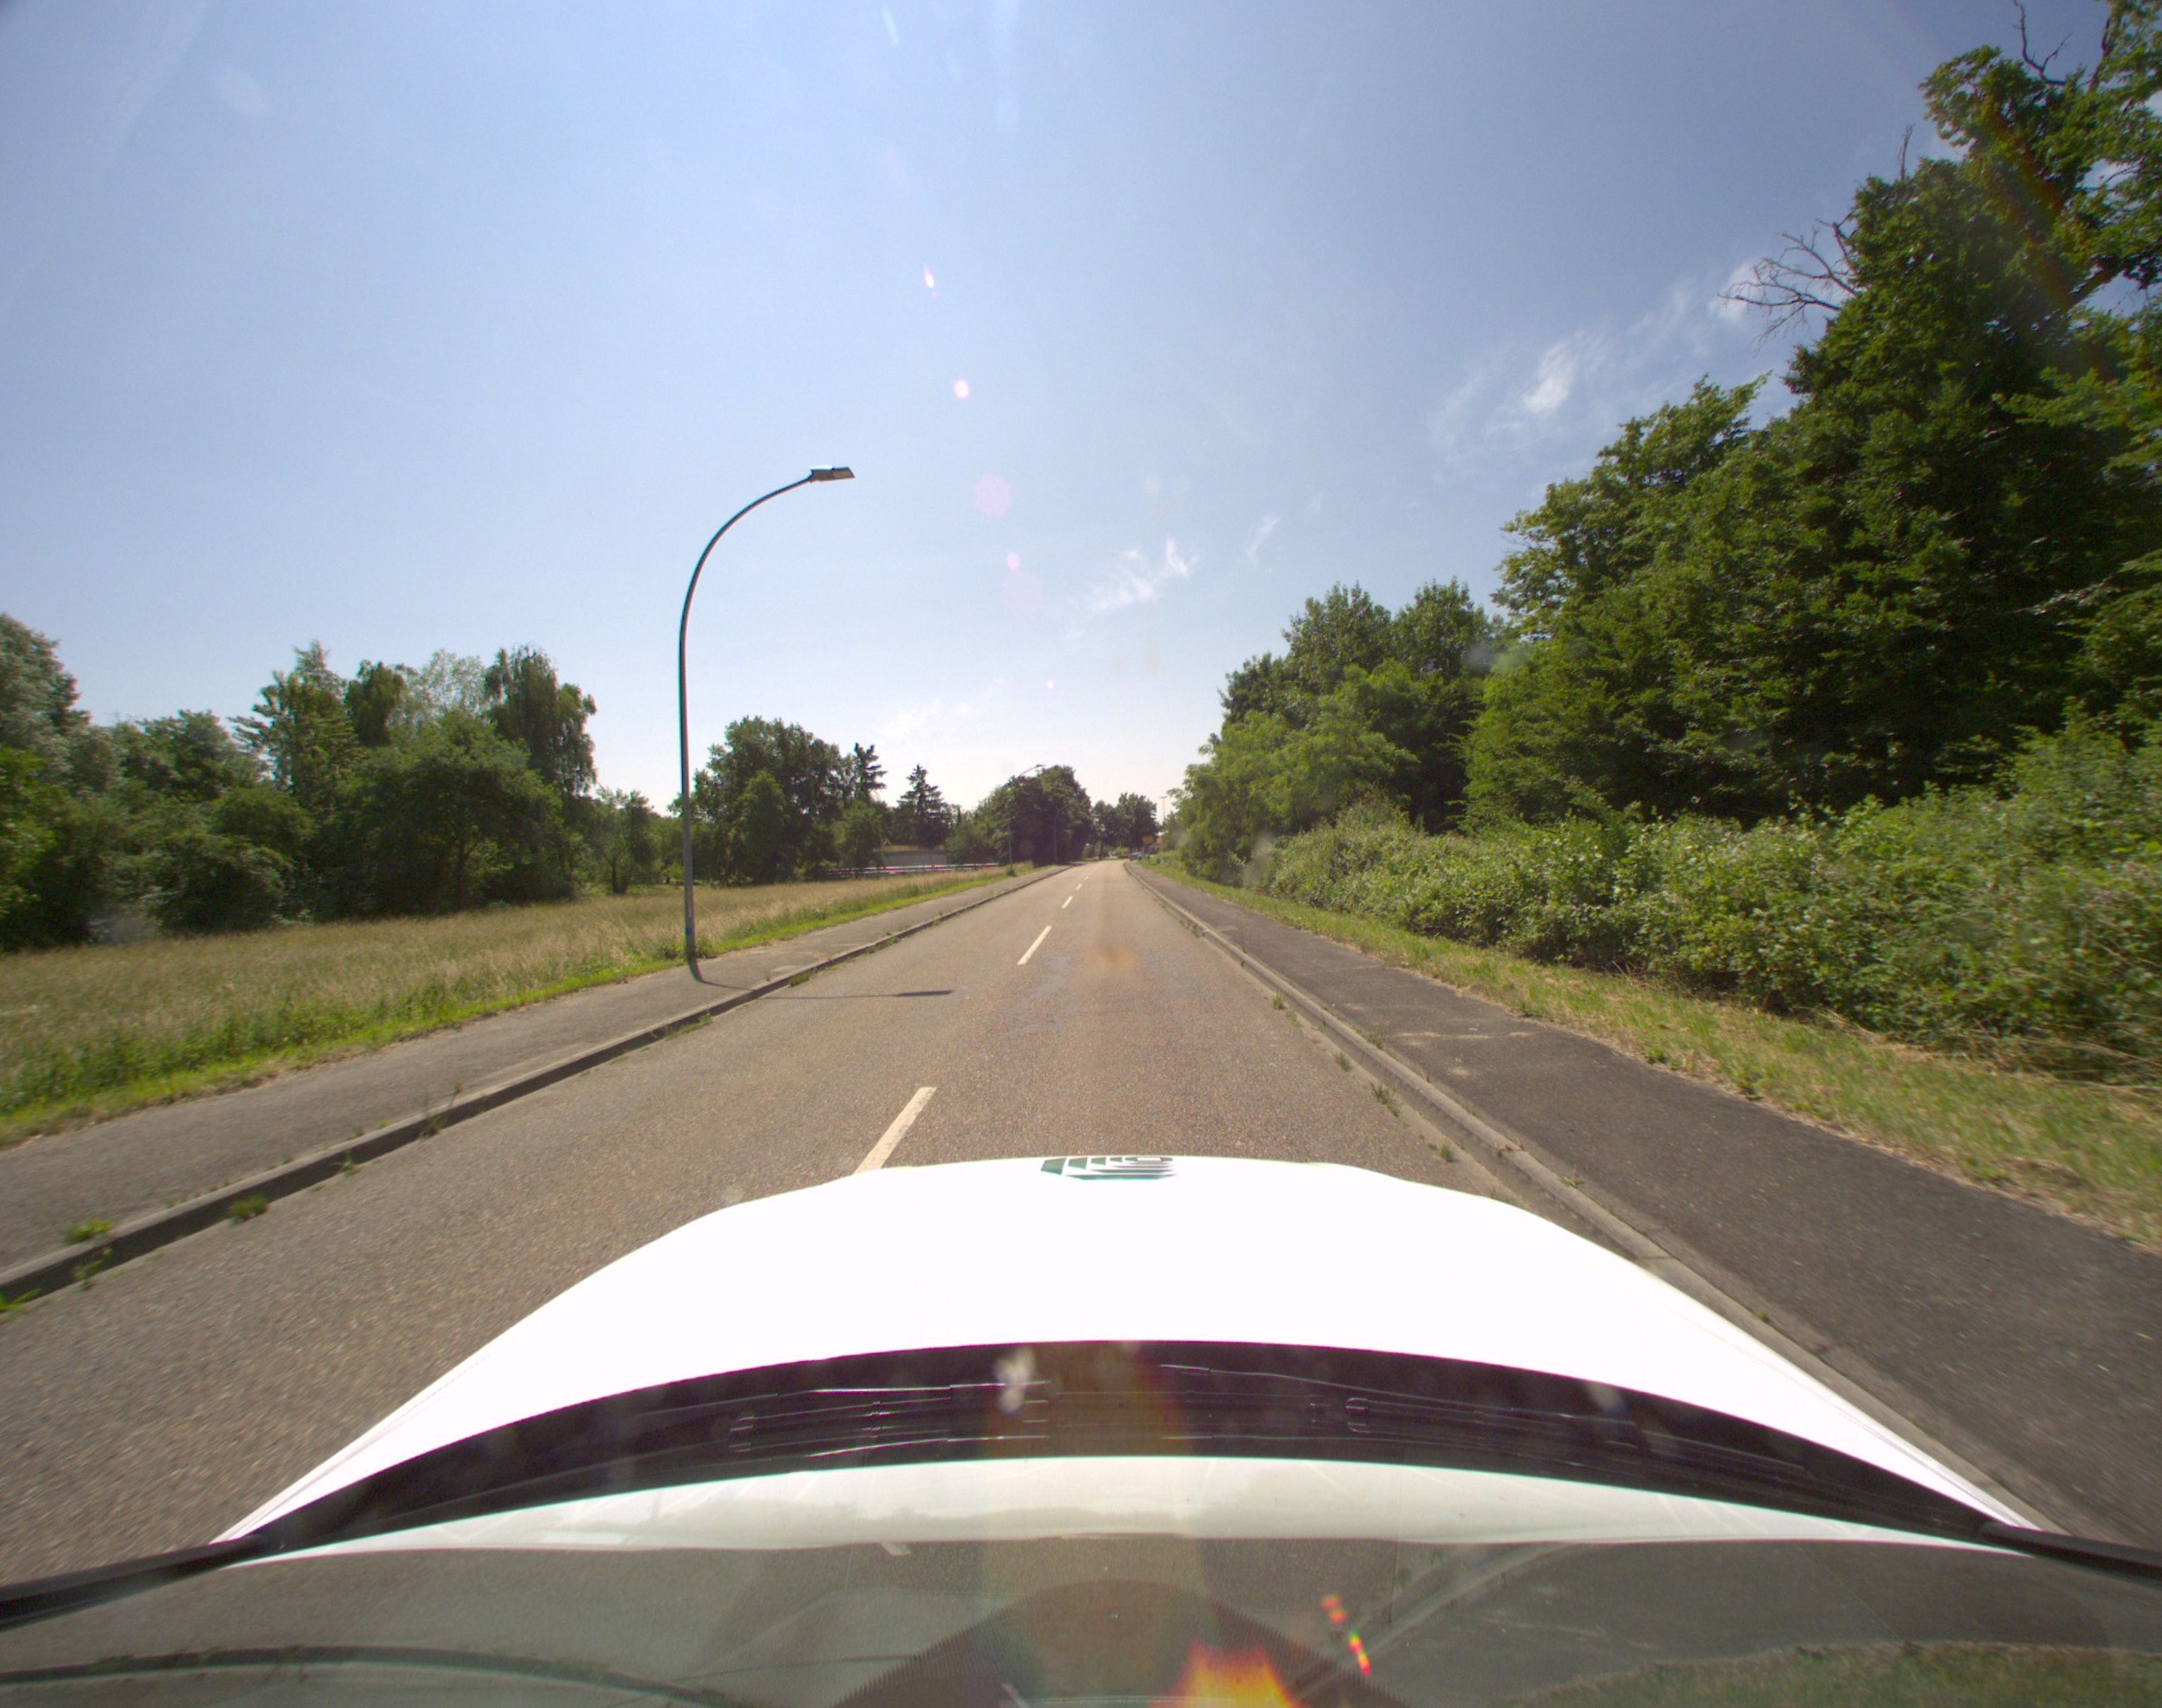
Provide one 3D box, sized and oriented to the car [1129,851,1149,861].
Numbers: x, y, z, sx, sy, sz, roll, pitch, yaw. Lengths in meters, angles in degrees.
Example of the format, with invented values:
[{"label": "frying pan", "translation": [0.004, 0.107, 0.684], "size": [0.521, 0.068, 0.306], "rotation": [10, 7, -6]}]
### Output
[{"label": "car", "translation": [8.661, 0.271, 121.349], "size": [1.599, 1.288, 3.579], "rotation": [-2, 0, 28]}]
